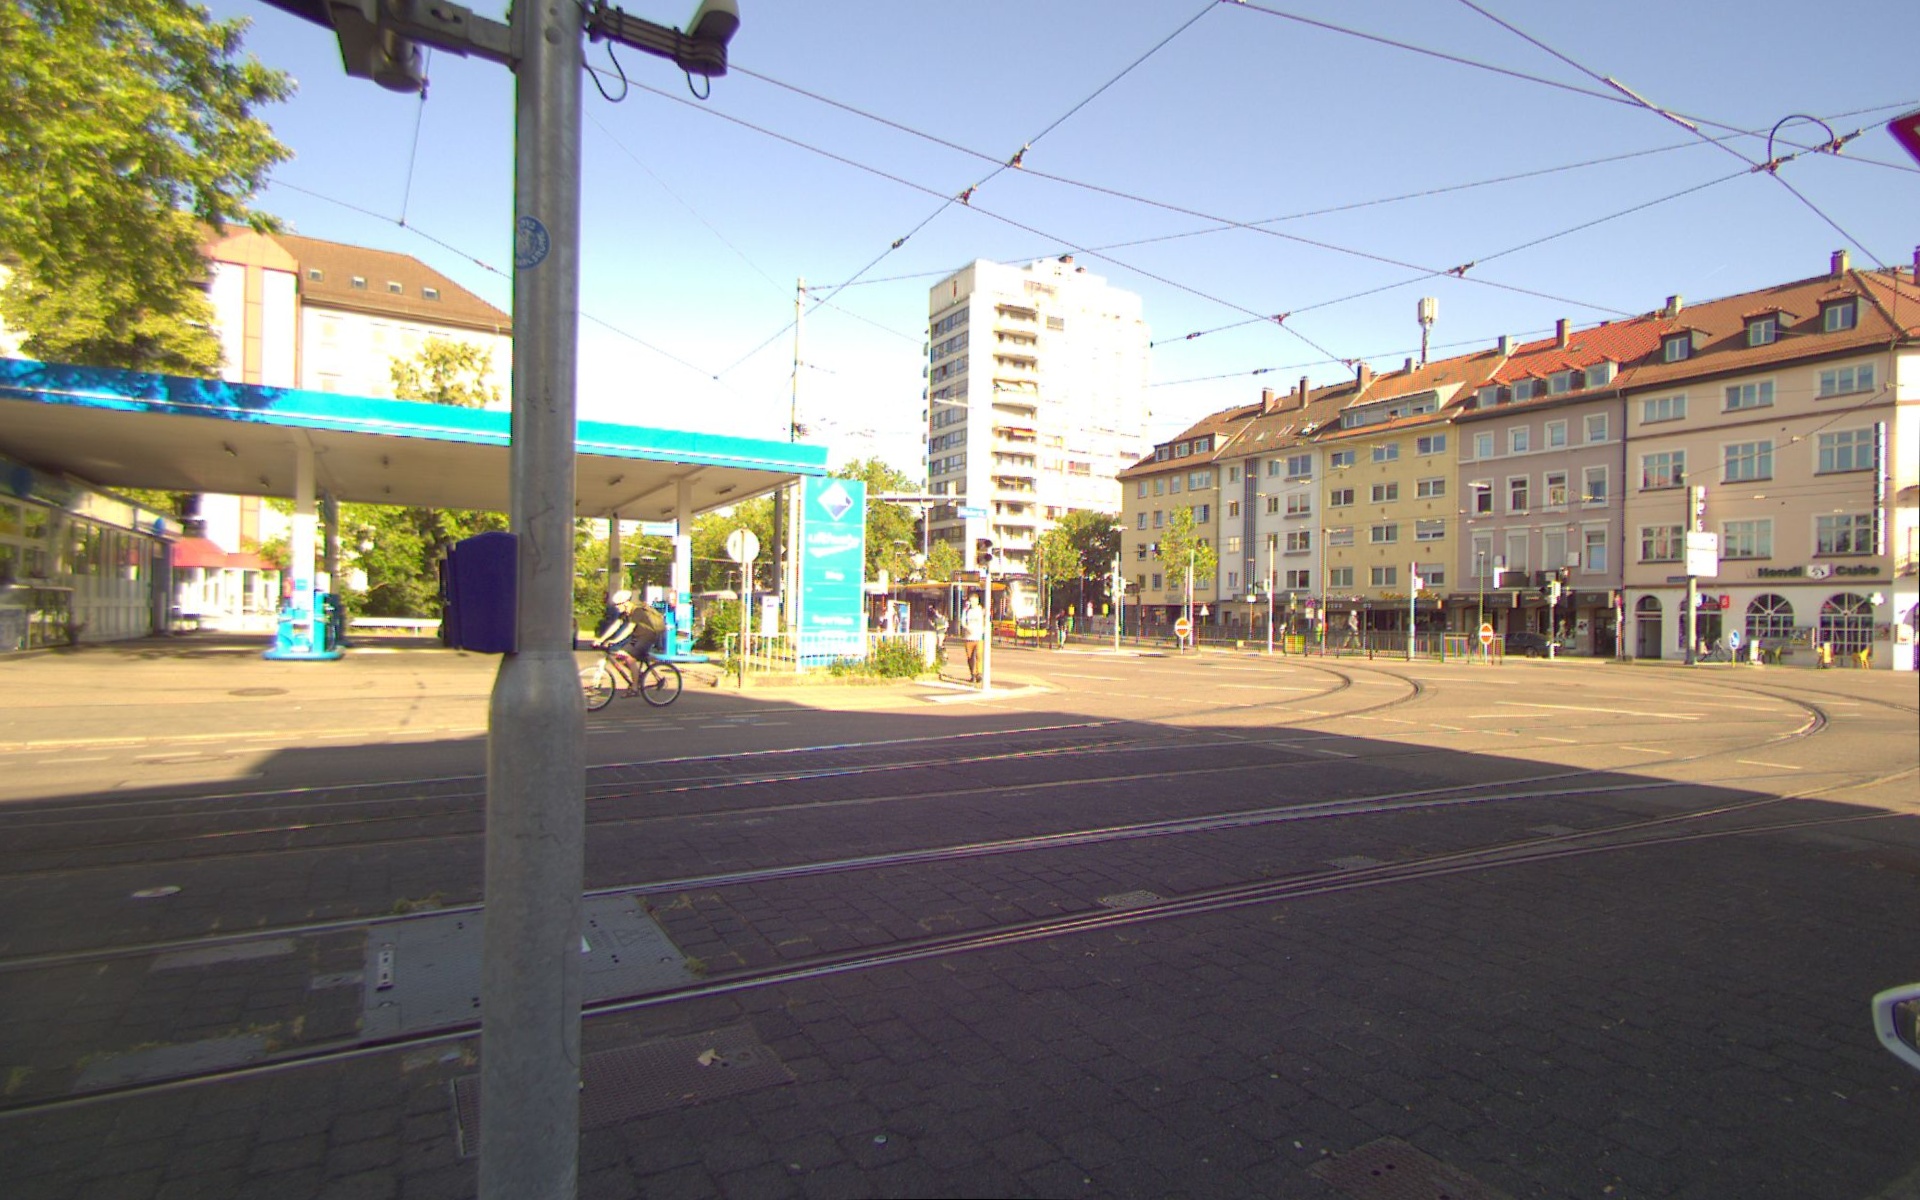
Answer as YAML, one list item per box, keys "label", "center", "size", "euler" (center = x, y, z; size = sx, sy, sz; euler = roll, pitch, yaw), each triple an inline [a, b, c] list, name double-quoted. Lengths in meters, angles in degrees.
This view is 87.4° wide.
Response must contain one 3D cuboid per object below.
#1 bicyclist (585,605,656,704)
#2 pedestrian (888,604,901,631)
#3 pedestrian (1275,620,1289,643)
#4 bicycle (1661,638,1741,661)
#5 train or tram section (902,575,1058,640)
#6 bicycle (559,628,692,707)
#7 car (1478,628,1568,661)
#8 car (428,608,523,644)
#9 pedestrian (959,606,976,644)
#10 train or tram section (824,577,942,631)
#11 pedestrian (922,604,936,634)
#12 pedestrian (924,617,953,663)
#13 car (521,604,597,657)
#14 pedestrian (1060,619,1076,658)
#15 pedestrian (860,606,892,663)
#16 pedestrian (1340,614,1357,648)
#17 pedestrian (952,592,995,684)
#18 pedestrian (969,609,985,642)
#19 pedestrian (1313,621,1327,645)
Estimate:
- label: "bicyclist"
  center: [-4.969, 0.781, 14.719]
  size: [0.552, 1.384, 0.798]
  euler: [2, 0, 45]
- label: "pedestrian"
  center: [-3.933, 1.053, 60.518]
  size: [0.580, 1.613, 0.520]
  euler: [2, 0, -31]
- label: "pedestrian"
  center: [23.468, 2.308, 73.115]
  size: [0.693, 1.656, 0.629]
  euler: [2, 0, -33]
- label: "bicycle"
  center: [37.494, 2.493, 50.897]
  size: [0.989, 0.993, 3.115]
  euler: [2, 0, -29]
- label: "train or tram section"
  center: [0.806, 0.342, 57.430]
  size: [2.751, 3.273, 12.286]
  euler: [2, 0, -31]
- label: "bicycle"
  center: [-4.899, 0.964, 14.816]
  size: [0.567, 1.084, 1.783]
  euler: [2, 0, 44]
- label: "car"
  center: [30.850, 2.419, 55.142]
  size: [1.970, 1.692, 3.981]
  euler: [1, -1, -21]
- label: "car"
  center: [-19.239, 1.015, 40.019]
  size: [1.632, 1.316, 3.482]
  euler: [2, 0, 11]
- label: "pedestrian"
  center: [0.381, 1.275, 51.423]
  size: [0.666, 1.913, 0.520]
  euler: [2, 0, -31]
- label: "train or tram section"
  center: [-5.463, 0.198, 67.910]
  size: [2.751, 3.273, 12.286]
  euler: [2, 0, -31]
- label: "pedestrian"
  center: [-1.742, 1.061, 56.236]
  size: [0.580, 1.613, 0.520]
  euler: [2, 0, -31]
- label: "pedestrian"
  center: [-0.747, 1.391, 35.158]
  size: [0.693, 1.608, 0.821]
  euler: [0, -1, 31]
- label: "car"
  center: [-12.064, 0.884, 30.110]
  size: [1.764, 1.411, 3.455]
  euler: [2, 0, -28]
- label: "pedestrian"
  center: [4.682, 1.655, 43.464]
  size: [0.575, 1.686, 0.525]
  euler: [2, 0, 15]
- label: "pedestrian"
  center: [-2.497, 1.016, 29.822]
  size: [0.675, 1.656, 0.694]
  euler: [2, 0, -35]
- label: "pedestrian"
  center: [19.562, 1.558, 50.590]
  size: [0.570, 1.649, 0.522]
  euler: [2, 0, -31]
- label: "pedestrian"
  center: [0.290, 0.784, 21.218]
  size: [0.778, 1.893, 0.674]
  euler: [2, 0, 6]
- label: "pedestrian"
  center: [0.860, 1.267, 50.292]
  size: [0.580, 1.613, 0.520]
  euler: [2, 0, -31]
- label: "pedestrian"
  center: [25.604, 2.364, 71.439]
  size: [0.693, 1.656, 0.629]
  euler: [2, 0, -33]
